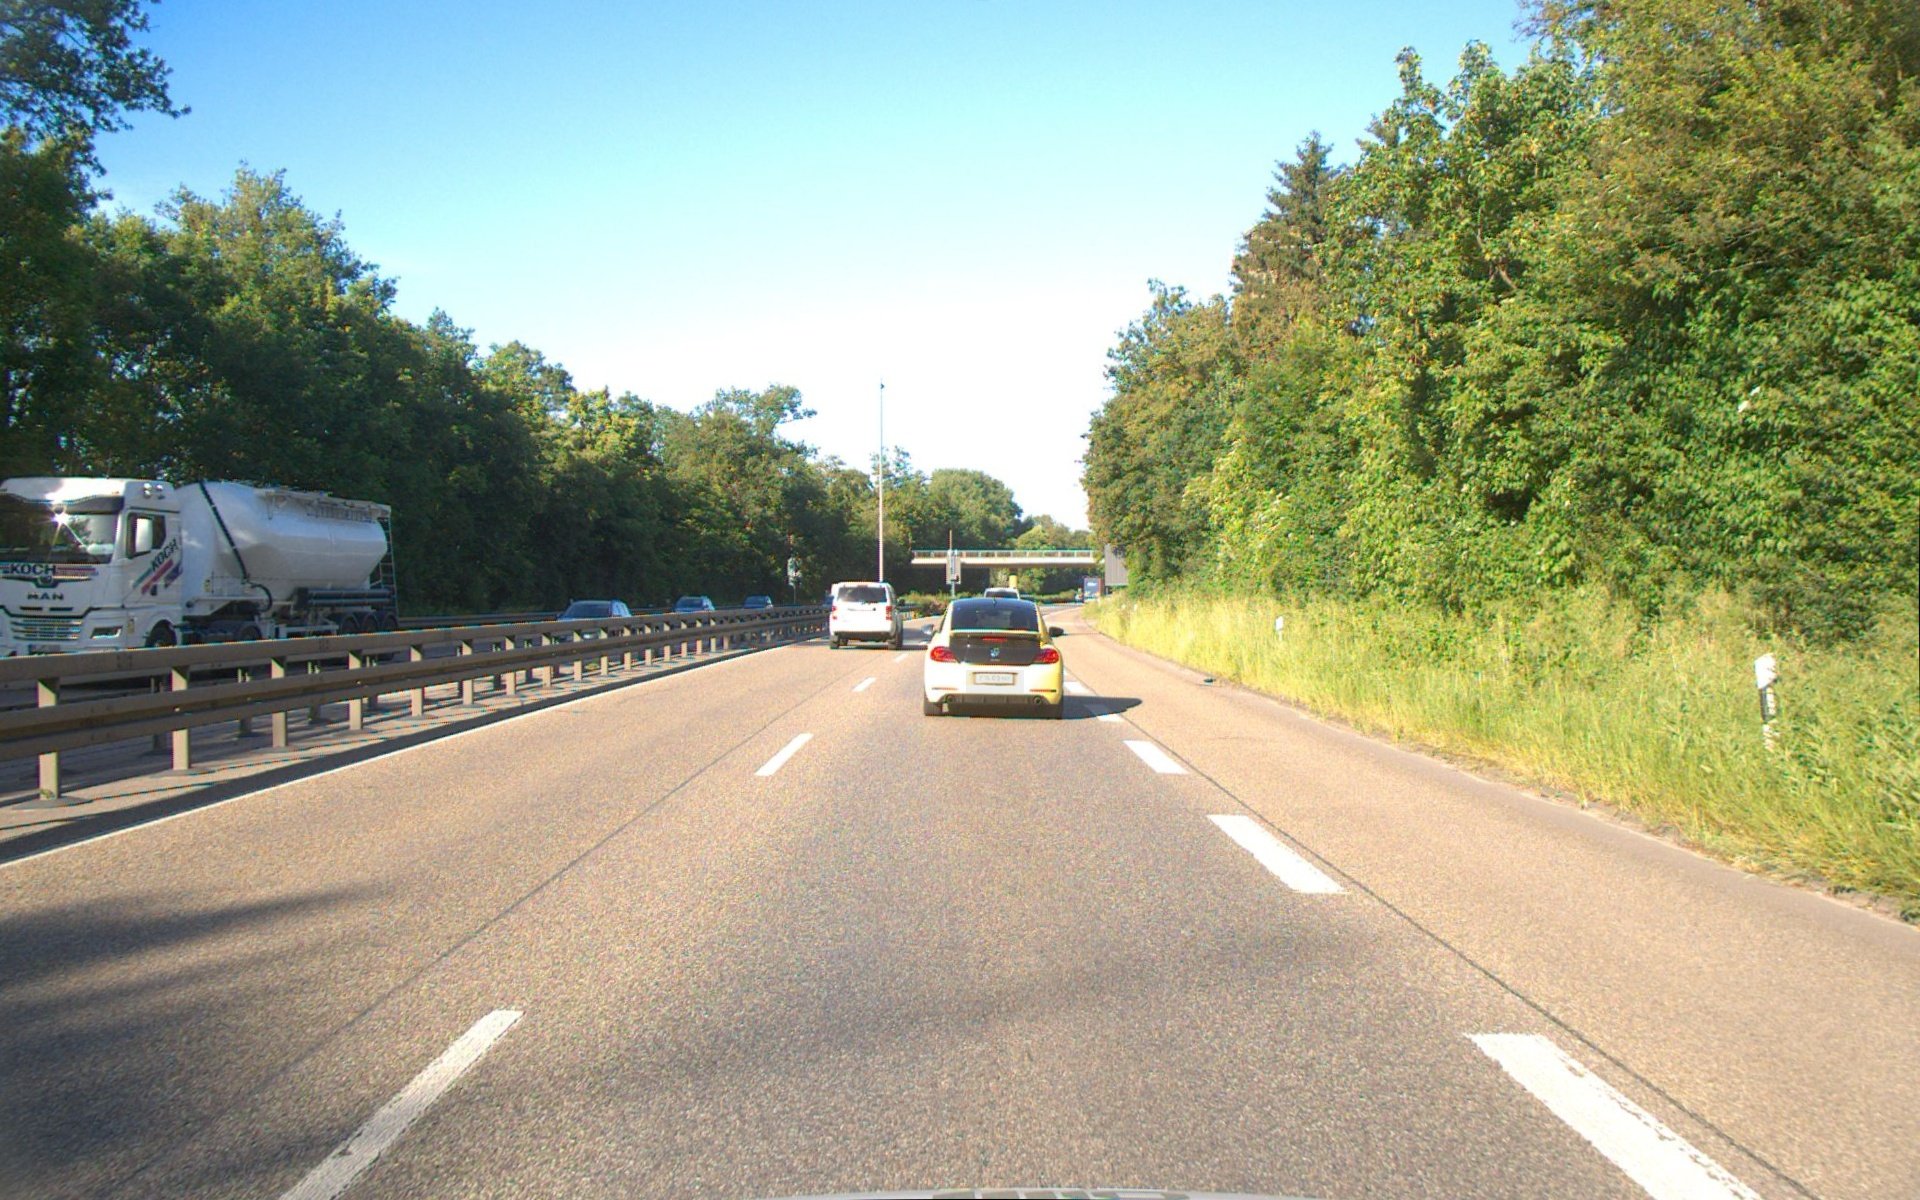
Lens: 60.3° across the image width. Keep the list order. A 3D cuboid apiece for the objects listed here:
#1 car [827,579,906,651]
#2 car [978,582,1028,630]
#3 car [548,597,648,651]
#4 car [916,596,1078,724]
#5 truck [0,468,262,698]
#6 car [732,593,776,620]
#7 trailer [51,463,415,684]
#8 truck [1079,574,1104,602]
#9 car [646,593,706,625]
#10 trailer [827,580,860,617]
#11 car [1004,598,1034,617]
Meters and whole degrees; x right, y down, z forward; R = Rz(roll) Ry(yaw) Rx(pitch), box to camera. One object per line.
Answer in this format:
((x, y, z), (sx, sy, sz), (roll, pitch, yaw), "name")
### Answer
((-2.544, 0.385, 45.341), (2.043, 1.860, 3.998), (0, 0, -3), "car")
((1.662, 0.229, 63.959), (1.825, 1.801, 4.470), (0, 0, 1), "car")
((-10.652, 0.675, 49.017), (1.761, 1.493, 4.698), (0, 0, 2), "car")
((0.388, 0.716, 22.077), (1.842, 1.487, 4.354), (1, 0, -3), "car")
((-15.352, -0.282, 29.709), (2.919, 3.693, 6.156), (0, 0, 1), "truck")
((-12.788, 0.384, 102.895), (2.029, 1.642, 5.059), (1, 0, 0), "car")
((-15.259, -0.519, 36.079), (2.990, 4.067, 10.973), (0, 0, 1), "trailer")
((20.740, -1.877, 260.403), (3.421, 4.246, 8.868), (0, 0, 8), "truck")
((-13.746, 0.414, 80.339), (2.029, 1.493, 4.986), (1, 0, 0), "car")
((-7.950, -0.090, 112.790), (1.953, 2.480, 4.606), (0, 0, -1), "trailer")
((4.606, 0.597, 128.593), (1.951, 1.422, 4.003), (0, 0, 8), "car")
